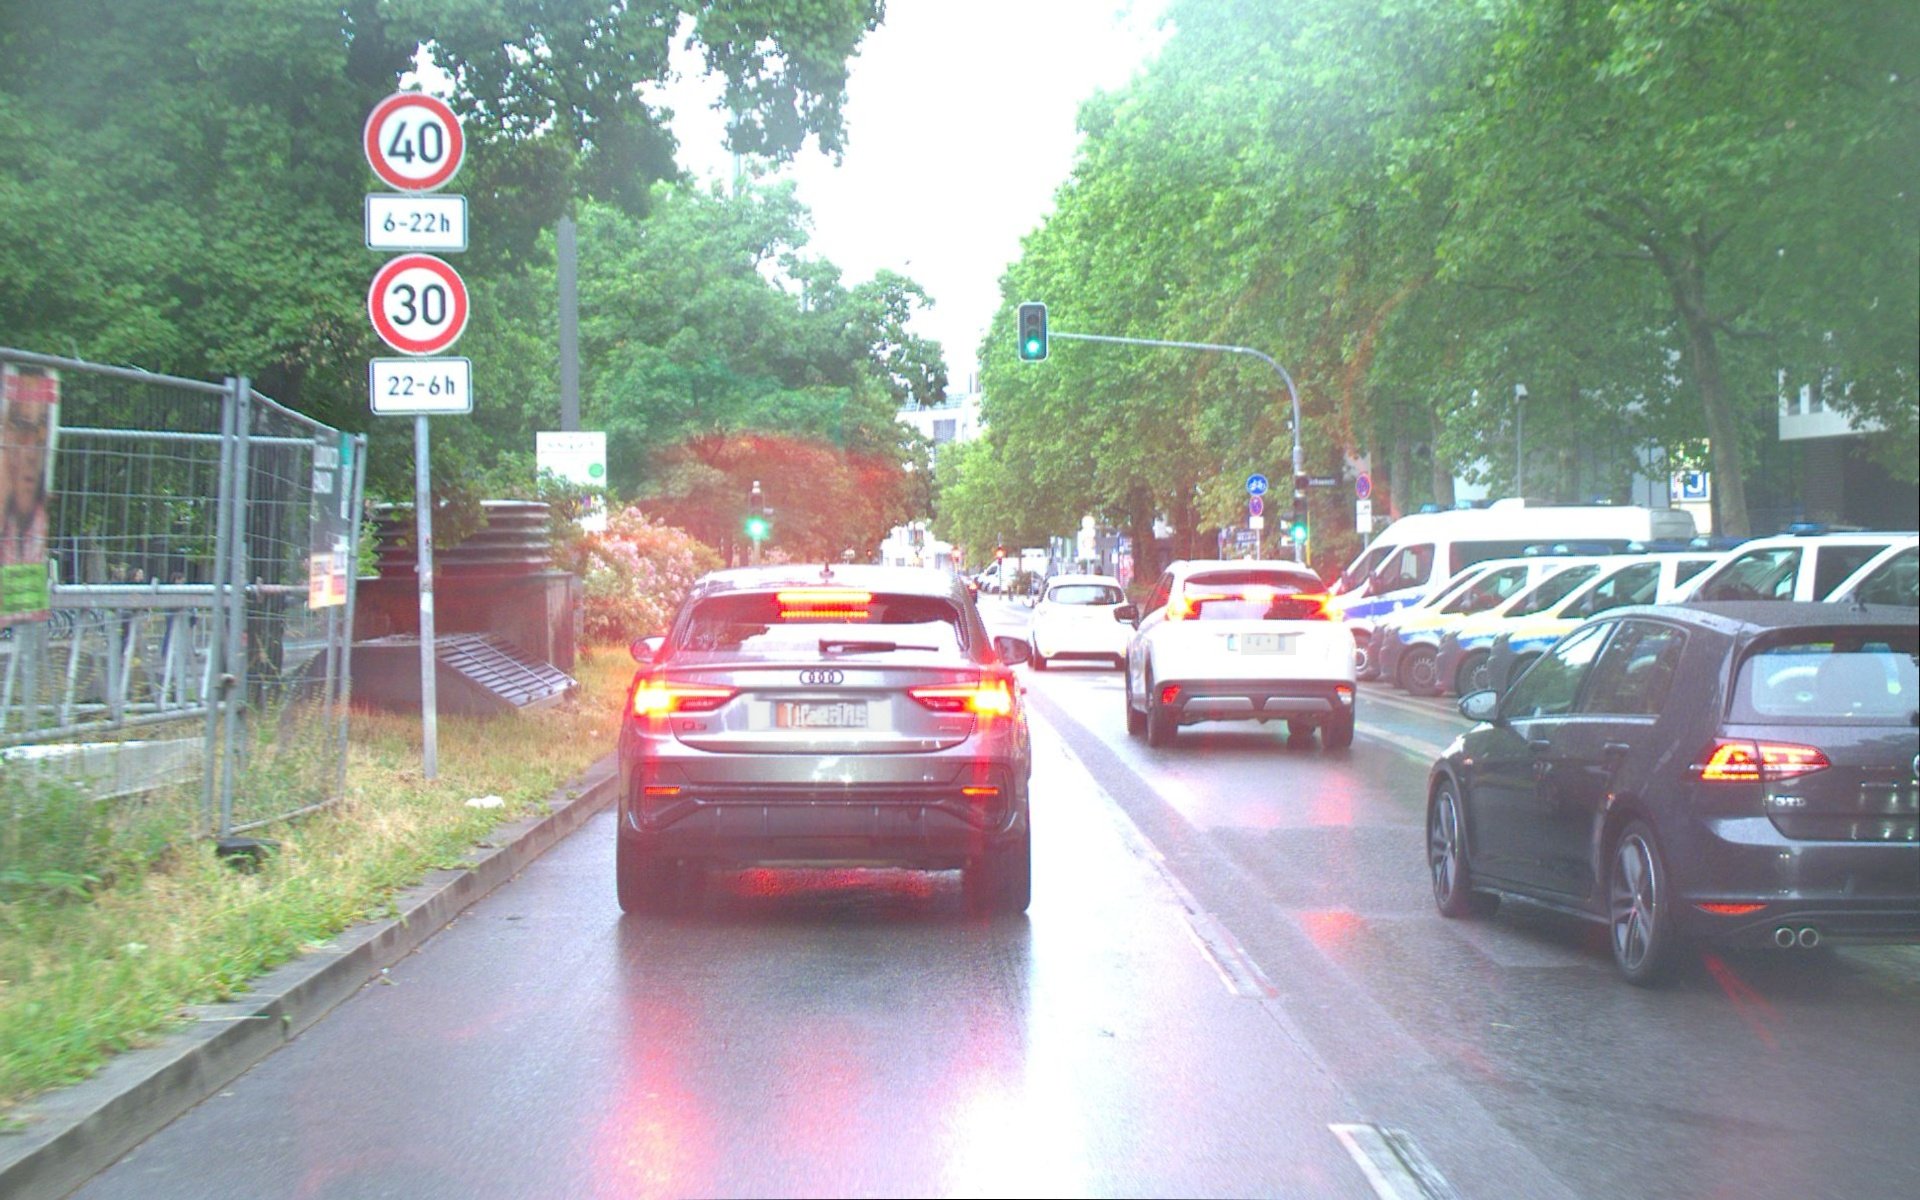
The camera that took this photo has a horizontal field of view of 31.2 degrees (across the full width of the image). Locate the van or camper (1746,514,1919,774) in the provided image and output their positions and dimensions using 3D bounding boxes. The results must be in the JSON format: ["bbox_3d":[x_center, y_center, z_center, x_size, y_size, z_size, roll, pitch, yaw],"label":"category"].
[{"bbox_3d":[8.731,0.345,26.522,4.849,1.991,1.864,1,0,36],"label":"van or camper"}]

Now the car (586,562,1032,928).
[{"bbox_3d":[-0.605,0.583,16.643,1.863,1.527,4.526,0,1,1],"label":"car"}]

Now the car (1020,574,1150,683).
[{"bbox_3d":[2.049,0.450,57.497,1.993,1.744,4.000,0,1,0],"label":"car"}]

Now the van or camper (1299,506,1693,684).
[{"bbox_3d":[8.402,-0.092,54.190,5.809,2.668,2.143,0,0,37],"label":"van or camper"}]

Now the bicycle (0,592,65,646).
[{"bbox_3d":[-19.385,0.388,70.643,1.844,1.094,0.615,0,0,-8],"label":"bicycle"}]

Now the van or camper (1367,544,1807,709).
[{"bbox_3d":[8.066,0.310,44.440,5.202,1.985,1.996,1,0,34],"label":"van or camper"}]

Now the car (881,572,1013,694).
[{"bbox_3d":[-0.199,0.414,46.687,1.721,1.572,3.962,0,1,-1],"label":"car"}]

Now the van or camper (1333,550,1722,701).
[{"bbox_3d":[7.912,0.361,48.177,5.010,2.007,1.996,0,-1,35],"label":"van or camper"}]

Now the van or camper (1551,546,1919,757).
[{"bbox_3d":[8.558,0.479,33.848,5.017,1.988,1.996,0,0,32],"label":"van or camper"}]

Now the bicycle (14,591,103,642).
[{"bbox_3d":[-19.537,0.349,74.520,1.821,1.094,0.566,0,0,-8],"label":"bicycle"}]

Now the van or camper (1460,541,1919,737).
[{"bbox_3d":[8.248,0.376,37.717,5.102,2.018,2.101,0,1,37],"label":"van or camper"}]

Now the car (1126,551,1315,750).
[{"bbox_3d":[2.290,0.417,30.766,1.433,1.679,2.979,-1,1,0],"label":"car"}]

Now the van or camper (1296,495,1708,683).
[{"bbox_3d":[8.048,-0.161,51.376,5.804,2.671,1.996,0,0,35],"label":"van or camper"}]

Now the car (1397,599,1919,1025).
[{"bbox_3d":[3.130,0.729,13.891,1.765,1.408,4.001,-1,1,-7],"label":"car"}]

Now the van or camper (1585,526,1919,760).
[{"bbox_3d":[8.205,0.366,30.636,4.789,2.004,1.996,0,0,36],"label":"van or camper"}]
